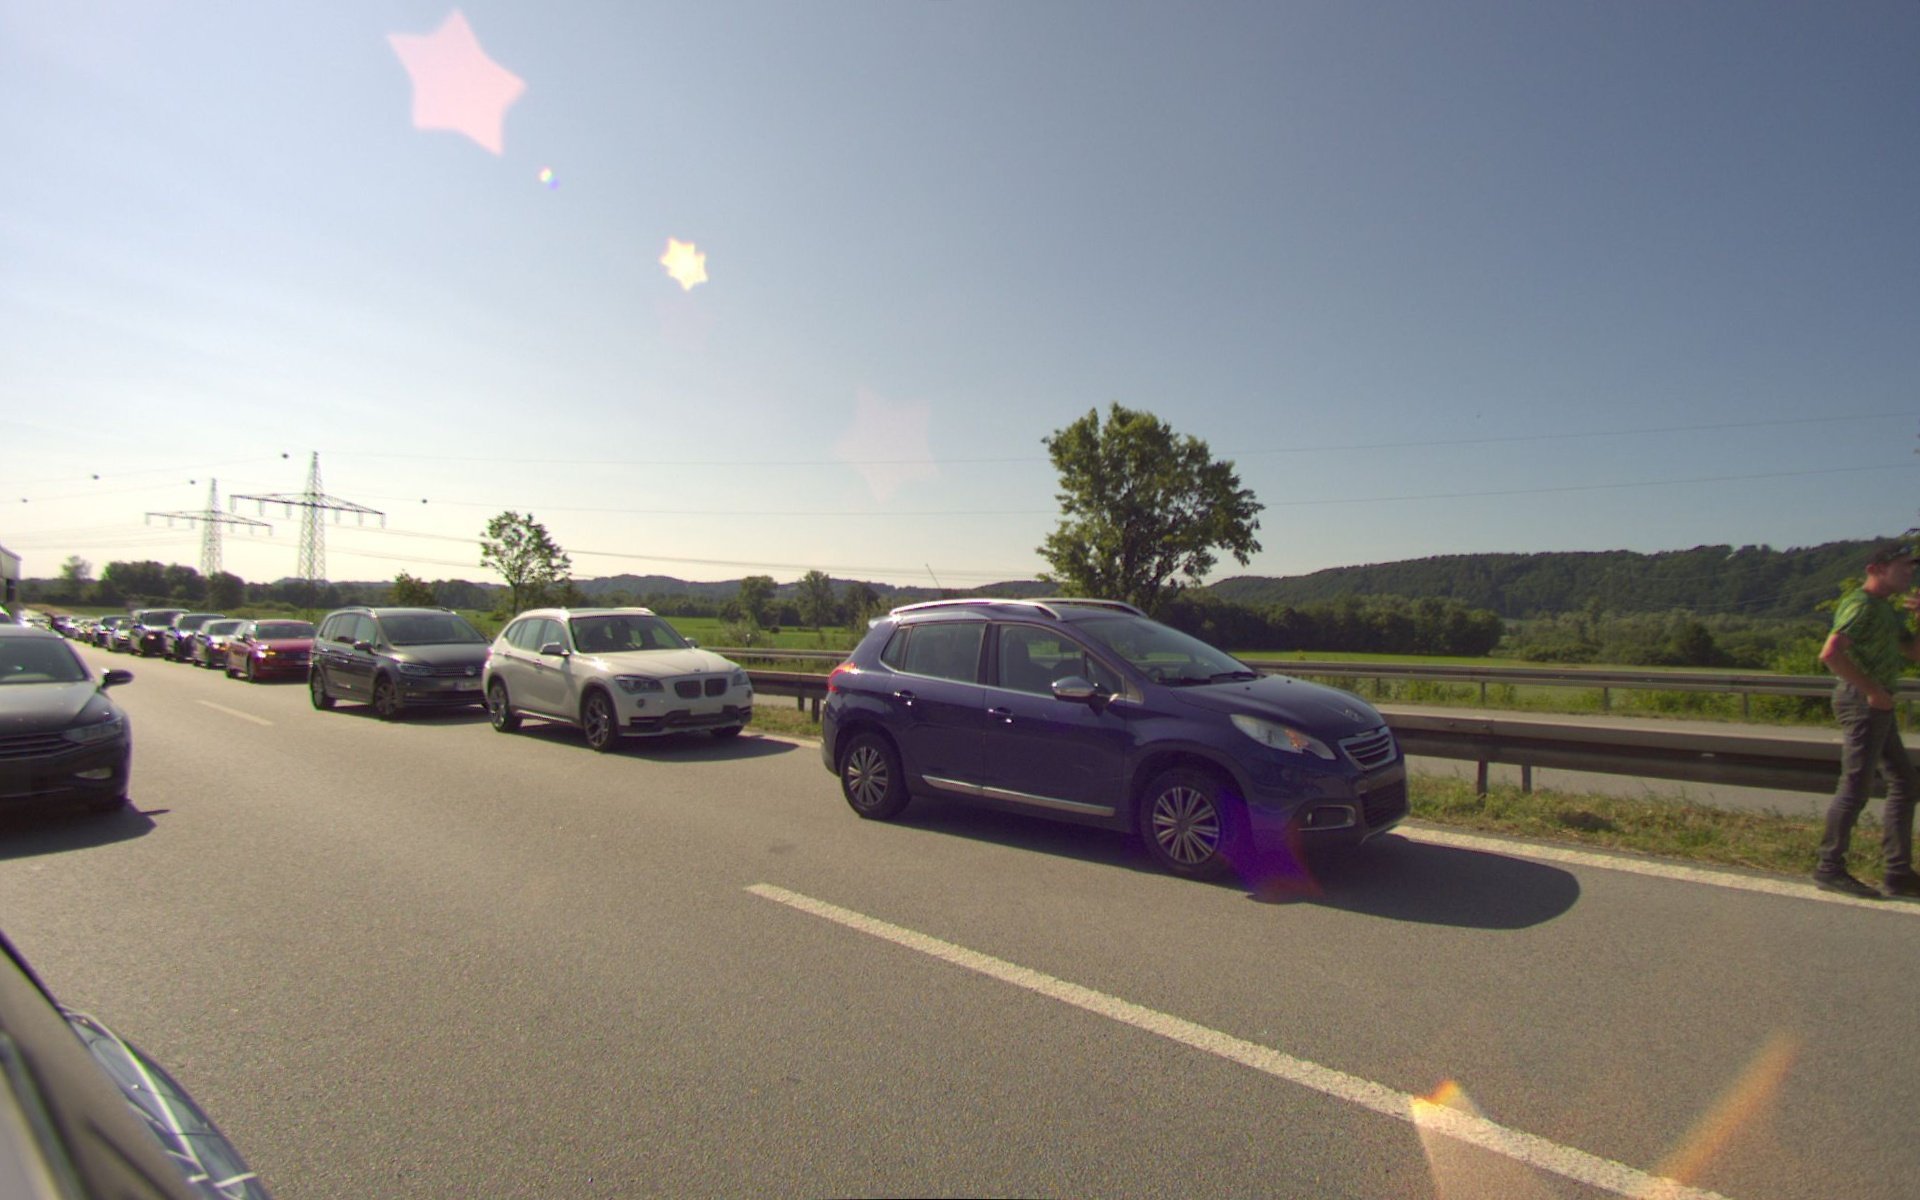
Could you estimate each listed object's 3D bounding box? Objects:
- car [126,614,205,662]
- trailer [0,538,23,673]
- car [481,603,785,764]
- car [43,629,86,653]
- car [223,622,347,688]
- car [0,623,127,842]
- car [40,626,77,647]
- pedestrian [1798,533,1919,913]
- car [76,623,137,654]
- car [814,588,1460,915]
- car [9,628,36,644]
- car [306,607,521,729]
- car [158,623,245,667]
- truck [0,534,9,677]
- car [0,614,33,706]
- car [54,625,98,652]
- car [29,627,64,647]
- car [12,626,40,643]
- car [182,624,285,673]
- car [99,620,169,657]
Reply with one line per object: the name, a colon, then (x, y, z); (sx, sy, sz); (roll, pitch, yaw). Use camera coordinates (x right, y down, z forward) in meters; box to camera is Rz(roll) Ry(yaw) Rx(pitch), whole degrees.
car: (-31.512, 1.490, 40.097); (4.201, 1.801, 1.876); (-2, -3, 44)
trailer: (-35.292, 0.251, 35.427); (3.338, 4.144, 13.971); (0, 0, -42)
car: (-4.054, 0.876, 12.162); (1.807, 1.586, 4.166); (1, -2, -45)
car: (-57.893, 2.636, 65.403); (4.119, 1.470, 1.794); (-2, -3, 45)
car: (-16.414, 1.276, 24.534); (1.794, 1.470, 4.120); (2, -3, -44)
car: (-7.949, 0.911, 8.019); (1.693, 1.424, 4.328); (0, -1, -45)
car: (-65.240, 2.642, 73.200); (1.794, 1.470, 4.120); (2, -3, -44)
pedestrian: (4.689, 0.576, 4.951); (0.663, 1.764, 0.815); (2, -3, -44)
car: (-43.436, 1.938, 51.454); (4.001, 1.542, 1.971); (-2, -2, 44)
car: (0.958, 0.744, 6.740); (3.947, 1.546, 1.670); (-1, 0, 42)
car: (-90.006, 3.437, 97.147); (1.794, 1.470, 4.120); (2, -3, -44)
car: (-8.584, 0.953, 15.739); (4.118, 1.628, 1.795); (-1, -1, 44)
car: (-26.529, 1.533, 35.357); (1.868, 1.466, 4.002); (2, -2, -45)
truck: (-31.244, 0.191, 30.840); (3.286, 4.144, 6.976); (0, 0, -43)
car: (-18.930, 1.103, 19.279); (1.693, 1.636, 4.328); (0, -1, -45)
car: (-53.165, 2.290, 60.816); (1.794, 1.470, 4.120); (-1, -1, -44)
car: (-71.337, 2.866, 79.017); (4.119, 1.470, 1.794); (-2, -1, 45)
car: (-86.006, 3.151, 93.167); (1.794, 1.470, 4.120); (-1, -1, -44)
car: (-22.281, 1.450, 30.987); (4.001, 1.409, 1.869); (-1, -2, 44)
car: (-36.753, 1.683, 44.996); (4.001, 1.542, 1.971); (-1, -2, 44)
